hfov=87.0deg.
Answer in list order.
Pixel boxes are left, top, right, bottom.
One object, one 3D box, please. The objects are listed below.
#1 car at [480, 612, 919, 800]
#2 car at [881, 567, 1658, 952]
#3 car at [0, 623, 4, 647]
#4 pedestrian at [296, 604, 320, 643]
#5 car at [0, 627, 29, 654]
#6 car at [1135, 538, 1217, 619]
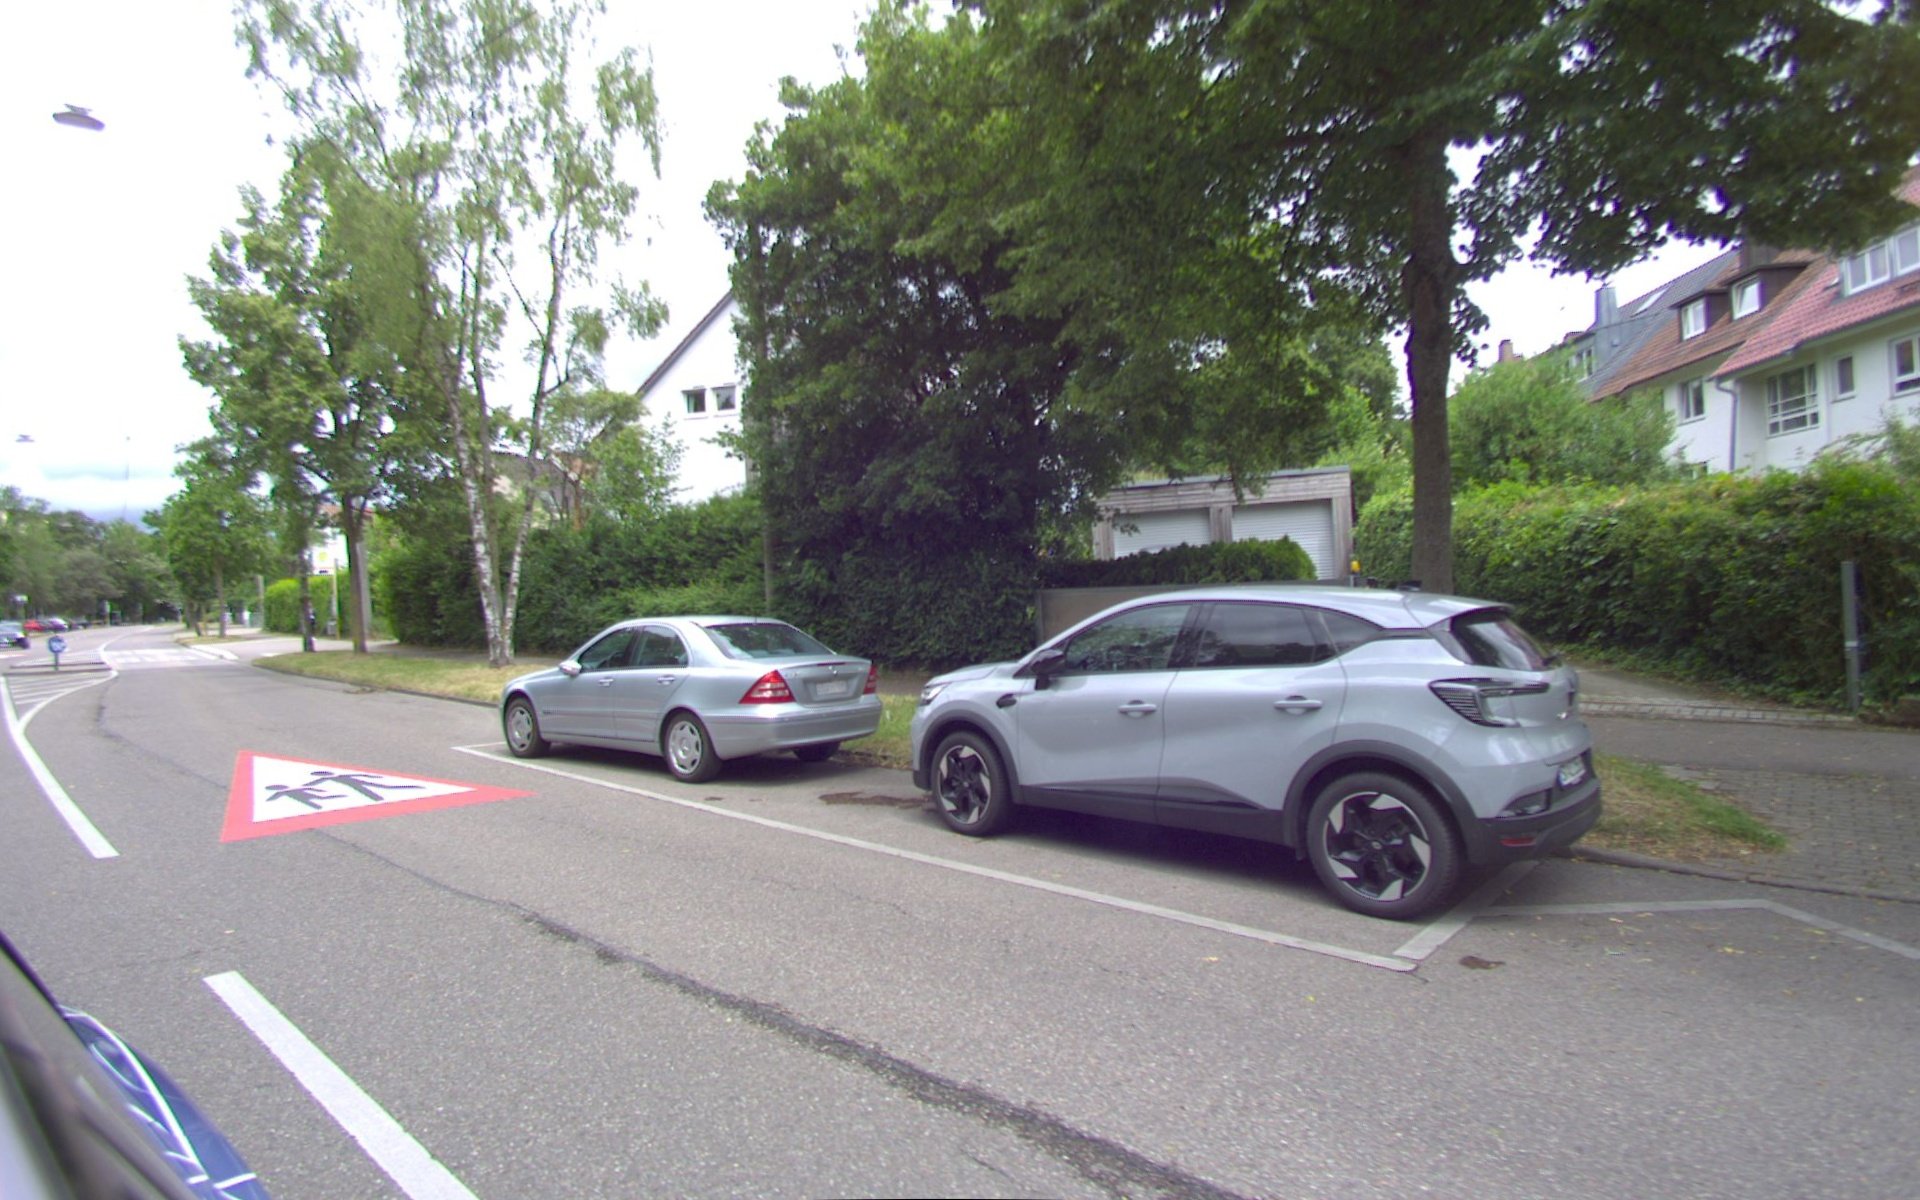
[{"bbox_3d":[-2.662,0.868,9.775,4.465,1.427,1.719,-2,-1,37],"label":"car"},{"bbox_3d":[1.567,0.691,6.160,4.189,1.550,1.716,-2,-1,43],"label":"car"},{"bbox_3d":[-71.123,2.660,71.960,1.850,1.771,4.183,-2,2,28],"label":"car"},{"bbox_3d":[-29.523,1.046,45.844,0.778,1.723,0.684,-2,0,43],"label":"pedestrian"},{"bbox_3d":[-51.544,2.173,54.355,1.832,1.384,4.085,-3,0,-37],"label":"car"},{"bbox_3d":[4.665,-0.523,22.192,1.404,1.616,3.369,-2,3,6],"label":"car"}]
